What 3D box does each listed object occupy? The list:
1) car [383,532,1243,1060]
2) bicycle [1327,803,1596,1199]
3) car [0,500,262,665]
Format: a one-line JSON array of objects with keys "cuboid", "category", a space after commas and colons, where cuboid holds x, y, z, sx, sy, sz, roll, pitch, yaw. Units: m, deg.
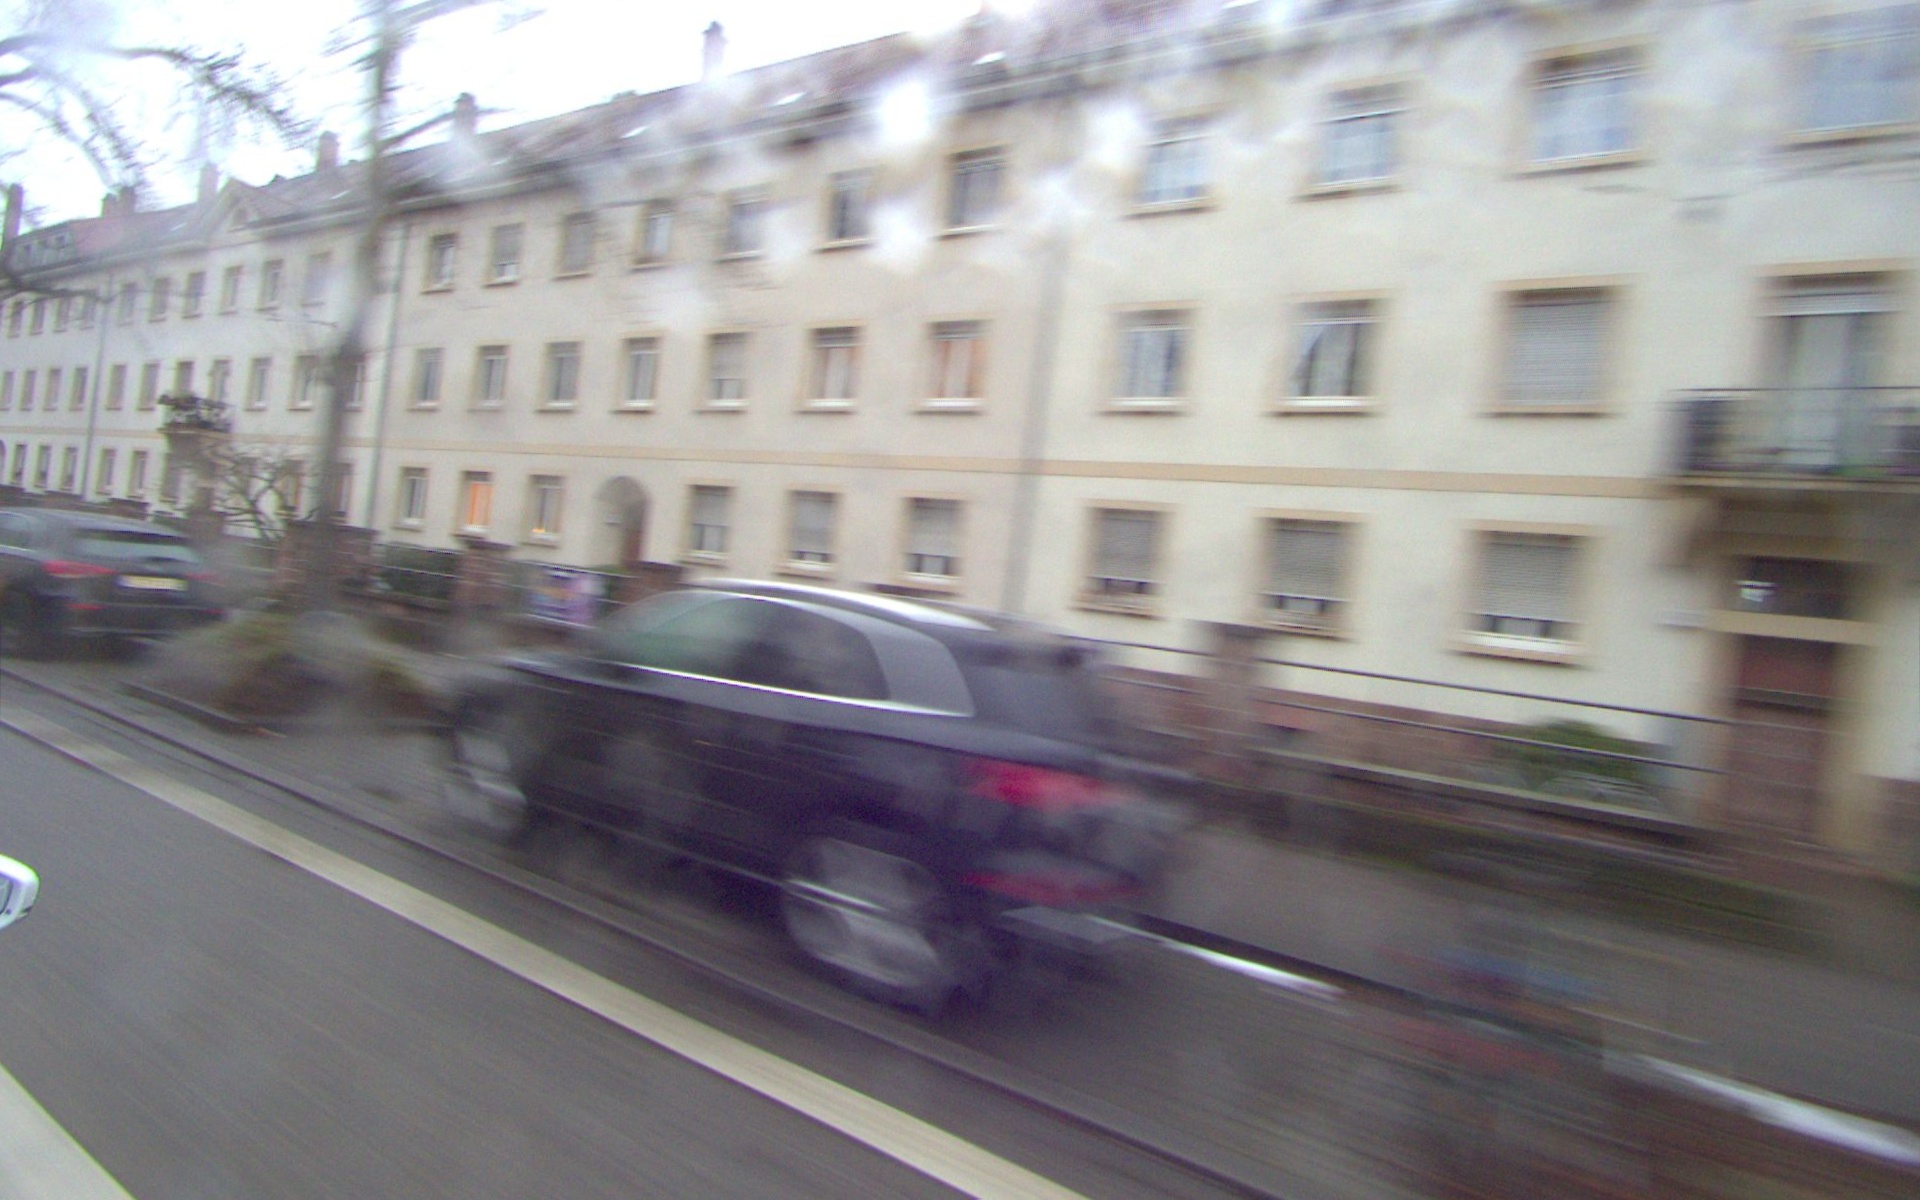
[{"cuboid": [-1.005, 0.706, 5.626, 4.487, 1.629, 1.908, 7, -1, 33], "category": "car"}, {"cuboid": [1.963, 1.400, 3.765, 0.457, 0.928, 2.010, 7, 3, 37], "category": "bicycle"}, {"cuboid": [-10.002, -0.286, 11.147, 4.268, 1.438, 1.882, 7, 1, 28], "category": "car"}]
